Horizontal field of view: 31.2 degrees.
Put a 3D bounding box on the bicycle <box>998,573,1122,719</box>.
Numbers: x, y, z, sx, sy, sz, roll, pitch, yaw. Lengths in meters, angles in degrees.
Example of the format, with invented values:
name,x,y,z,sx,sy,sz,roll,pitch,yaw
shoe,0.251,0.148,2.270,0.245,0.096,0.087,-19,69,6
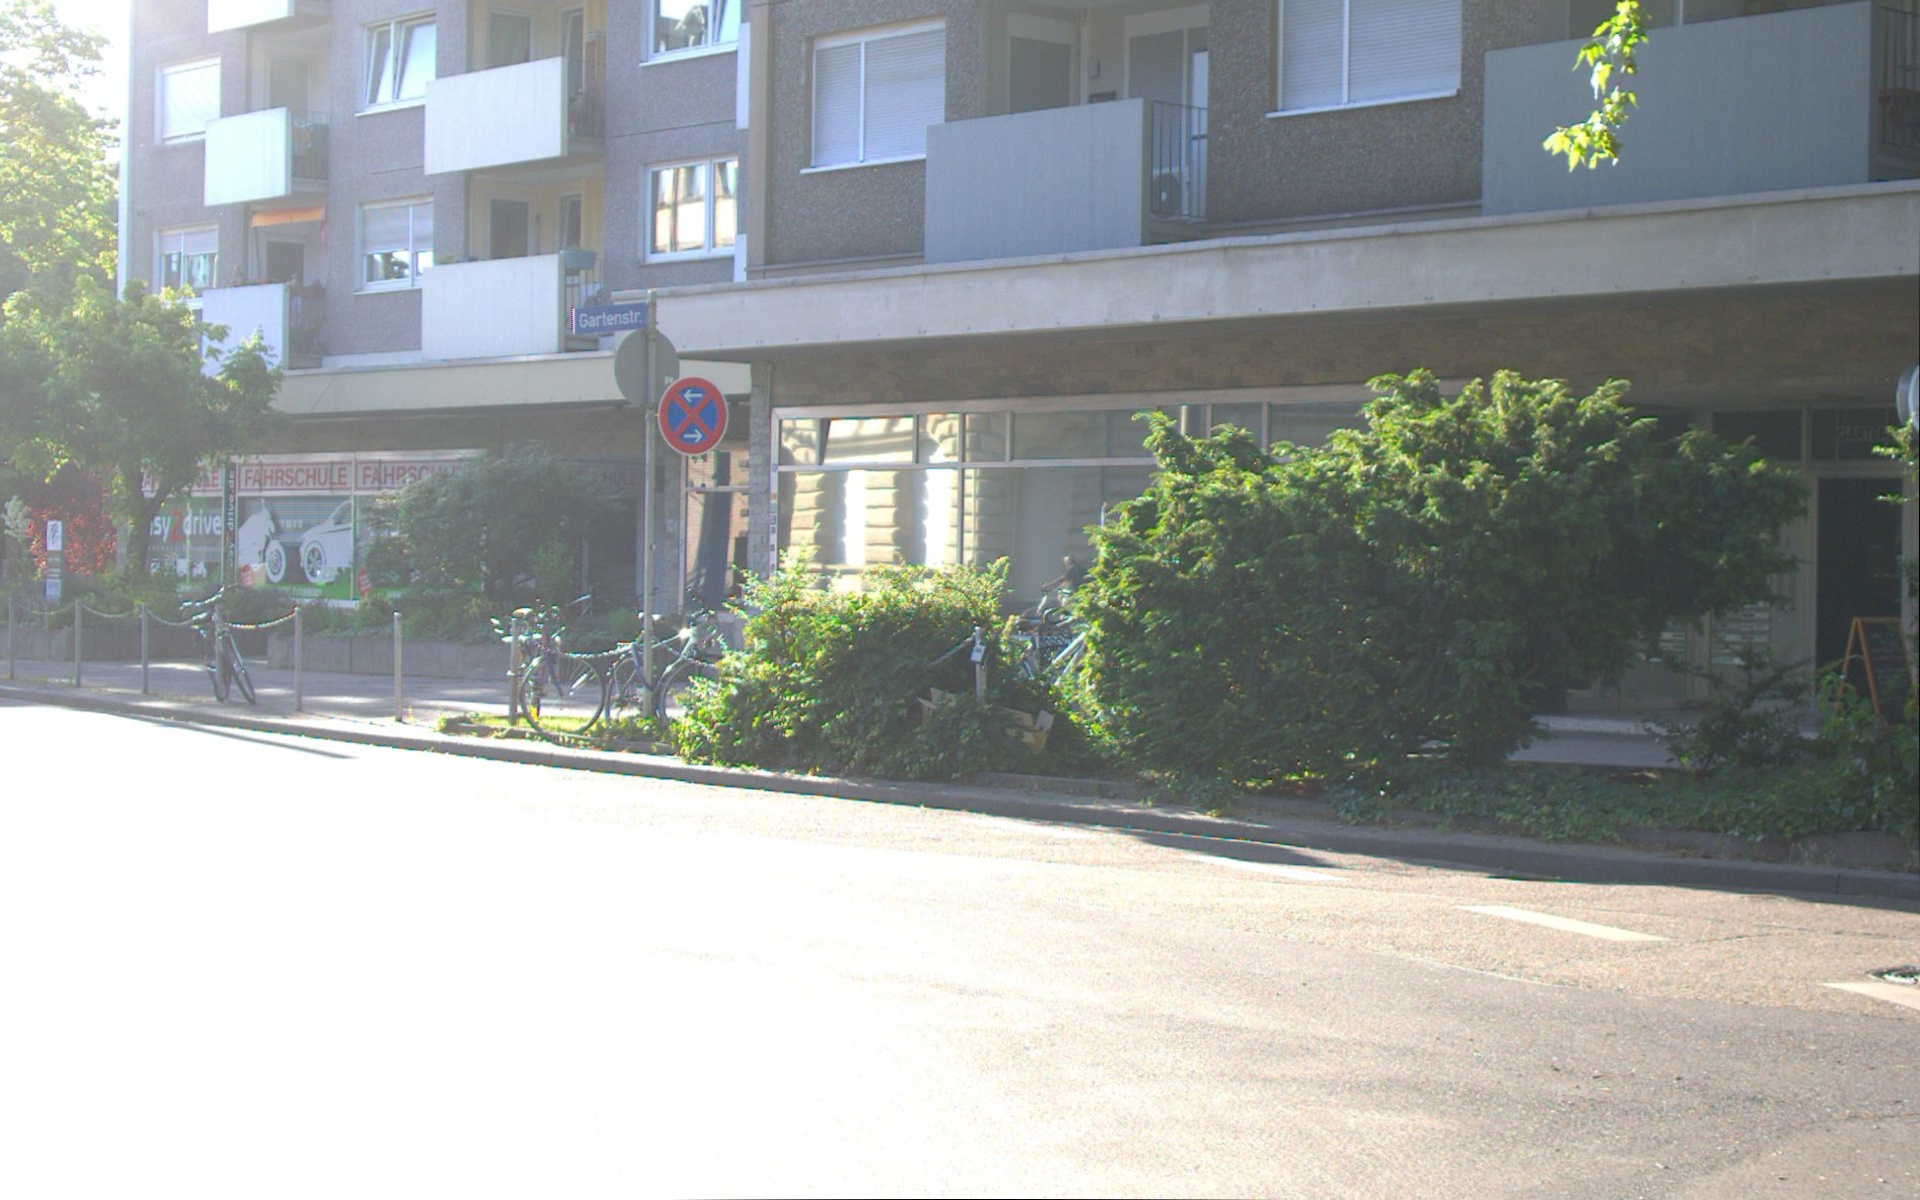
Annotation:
name,x,y,z,sx,sy,sz,roll,pitch,yaw
bicycle,0.726,0.323,25.171,0.348,1.034,1.052,0,1,-34

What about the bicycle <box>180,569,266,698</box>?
name,x,y,z,sx,sy,sz,roll,pitch,yaw
bicycle,-7.312,0.317,34.058,0.638,1.222,2.089,0,1,-17

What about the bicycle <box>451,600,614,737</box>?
name,x,y,z,sx,sy,sz,roll,pitch,yaw
bicycle,-3.442,0.529,27.513,0.638,1.019,2.088,0,1,-26

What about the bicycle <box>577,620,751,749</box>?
name,x,y,z,sx,sy,sz,roll,pitch,yaw
bicycle,-2.257,0.624,26.017,0.542,0.901,1.736,0,1,-34
